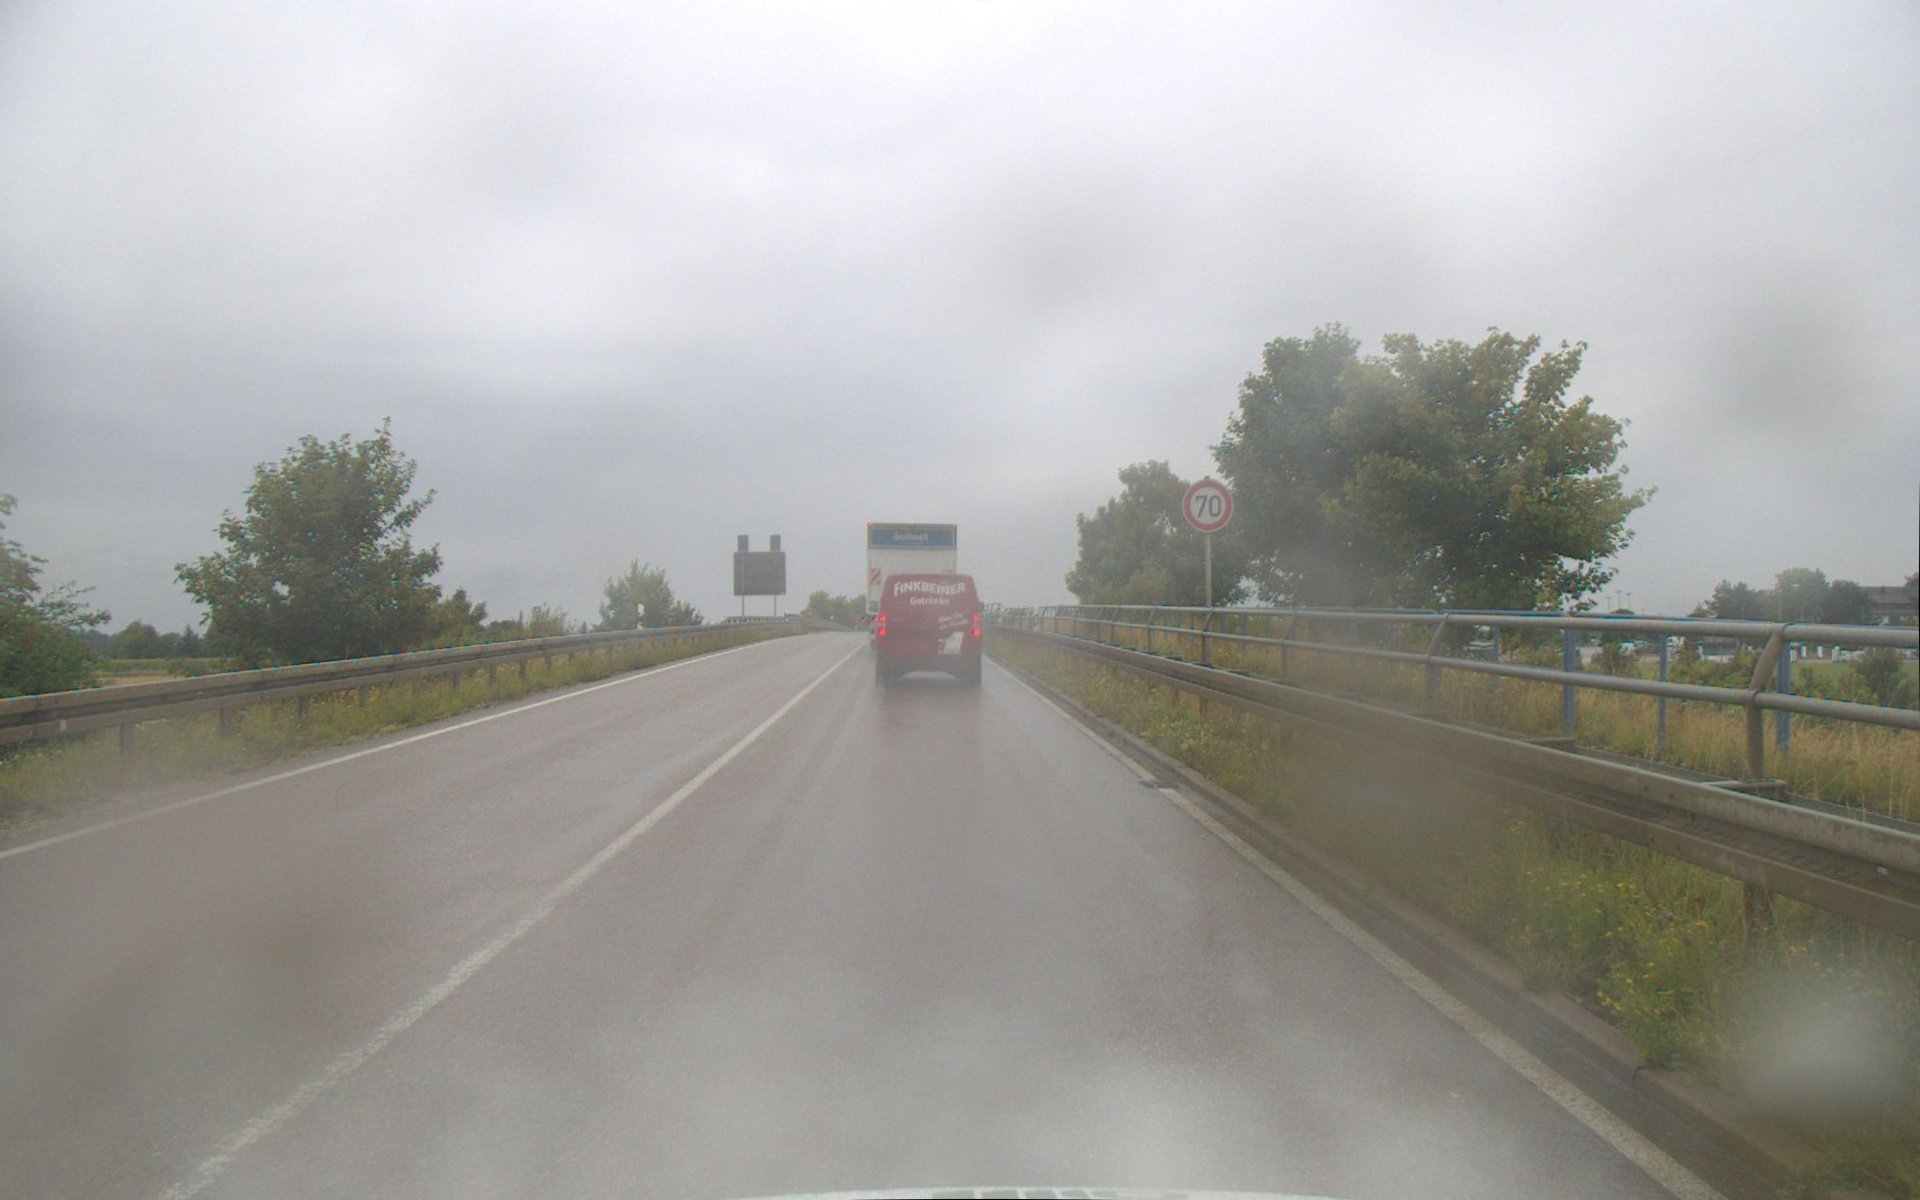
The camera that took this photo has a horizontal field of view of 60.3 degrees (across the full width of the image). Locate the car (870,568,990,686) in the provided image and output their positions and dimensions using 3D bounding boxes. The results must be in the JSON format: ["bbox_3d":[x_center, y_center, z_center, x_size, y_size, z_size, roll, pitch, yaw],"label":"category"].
[{"bbox_3d":[-0.505,0.457,29.805,1.953,1.903,4.978,-1,0,0],"label":"car"}]

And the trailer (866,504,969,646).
[{"bbox_3d":[-1.159,-0.615,50.366,2.774,3.886,9.713,-1,-1,0],"label":"trailer"}]
